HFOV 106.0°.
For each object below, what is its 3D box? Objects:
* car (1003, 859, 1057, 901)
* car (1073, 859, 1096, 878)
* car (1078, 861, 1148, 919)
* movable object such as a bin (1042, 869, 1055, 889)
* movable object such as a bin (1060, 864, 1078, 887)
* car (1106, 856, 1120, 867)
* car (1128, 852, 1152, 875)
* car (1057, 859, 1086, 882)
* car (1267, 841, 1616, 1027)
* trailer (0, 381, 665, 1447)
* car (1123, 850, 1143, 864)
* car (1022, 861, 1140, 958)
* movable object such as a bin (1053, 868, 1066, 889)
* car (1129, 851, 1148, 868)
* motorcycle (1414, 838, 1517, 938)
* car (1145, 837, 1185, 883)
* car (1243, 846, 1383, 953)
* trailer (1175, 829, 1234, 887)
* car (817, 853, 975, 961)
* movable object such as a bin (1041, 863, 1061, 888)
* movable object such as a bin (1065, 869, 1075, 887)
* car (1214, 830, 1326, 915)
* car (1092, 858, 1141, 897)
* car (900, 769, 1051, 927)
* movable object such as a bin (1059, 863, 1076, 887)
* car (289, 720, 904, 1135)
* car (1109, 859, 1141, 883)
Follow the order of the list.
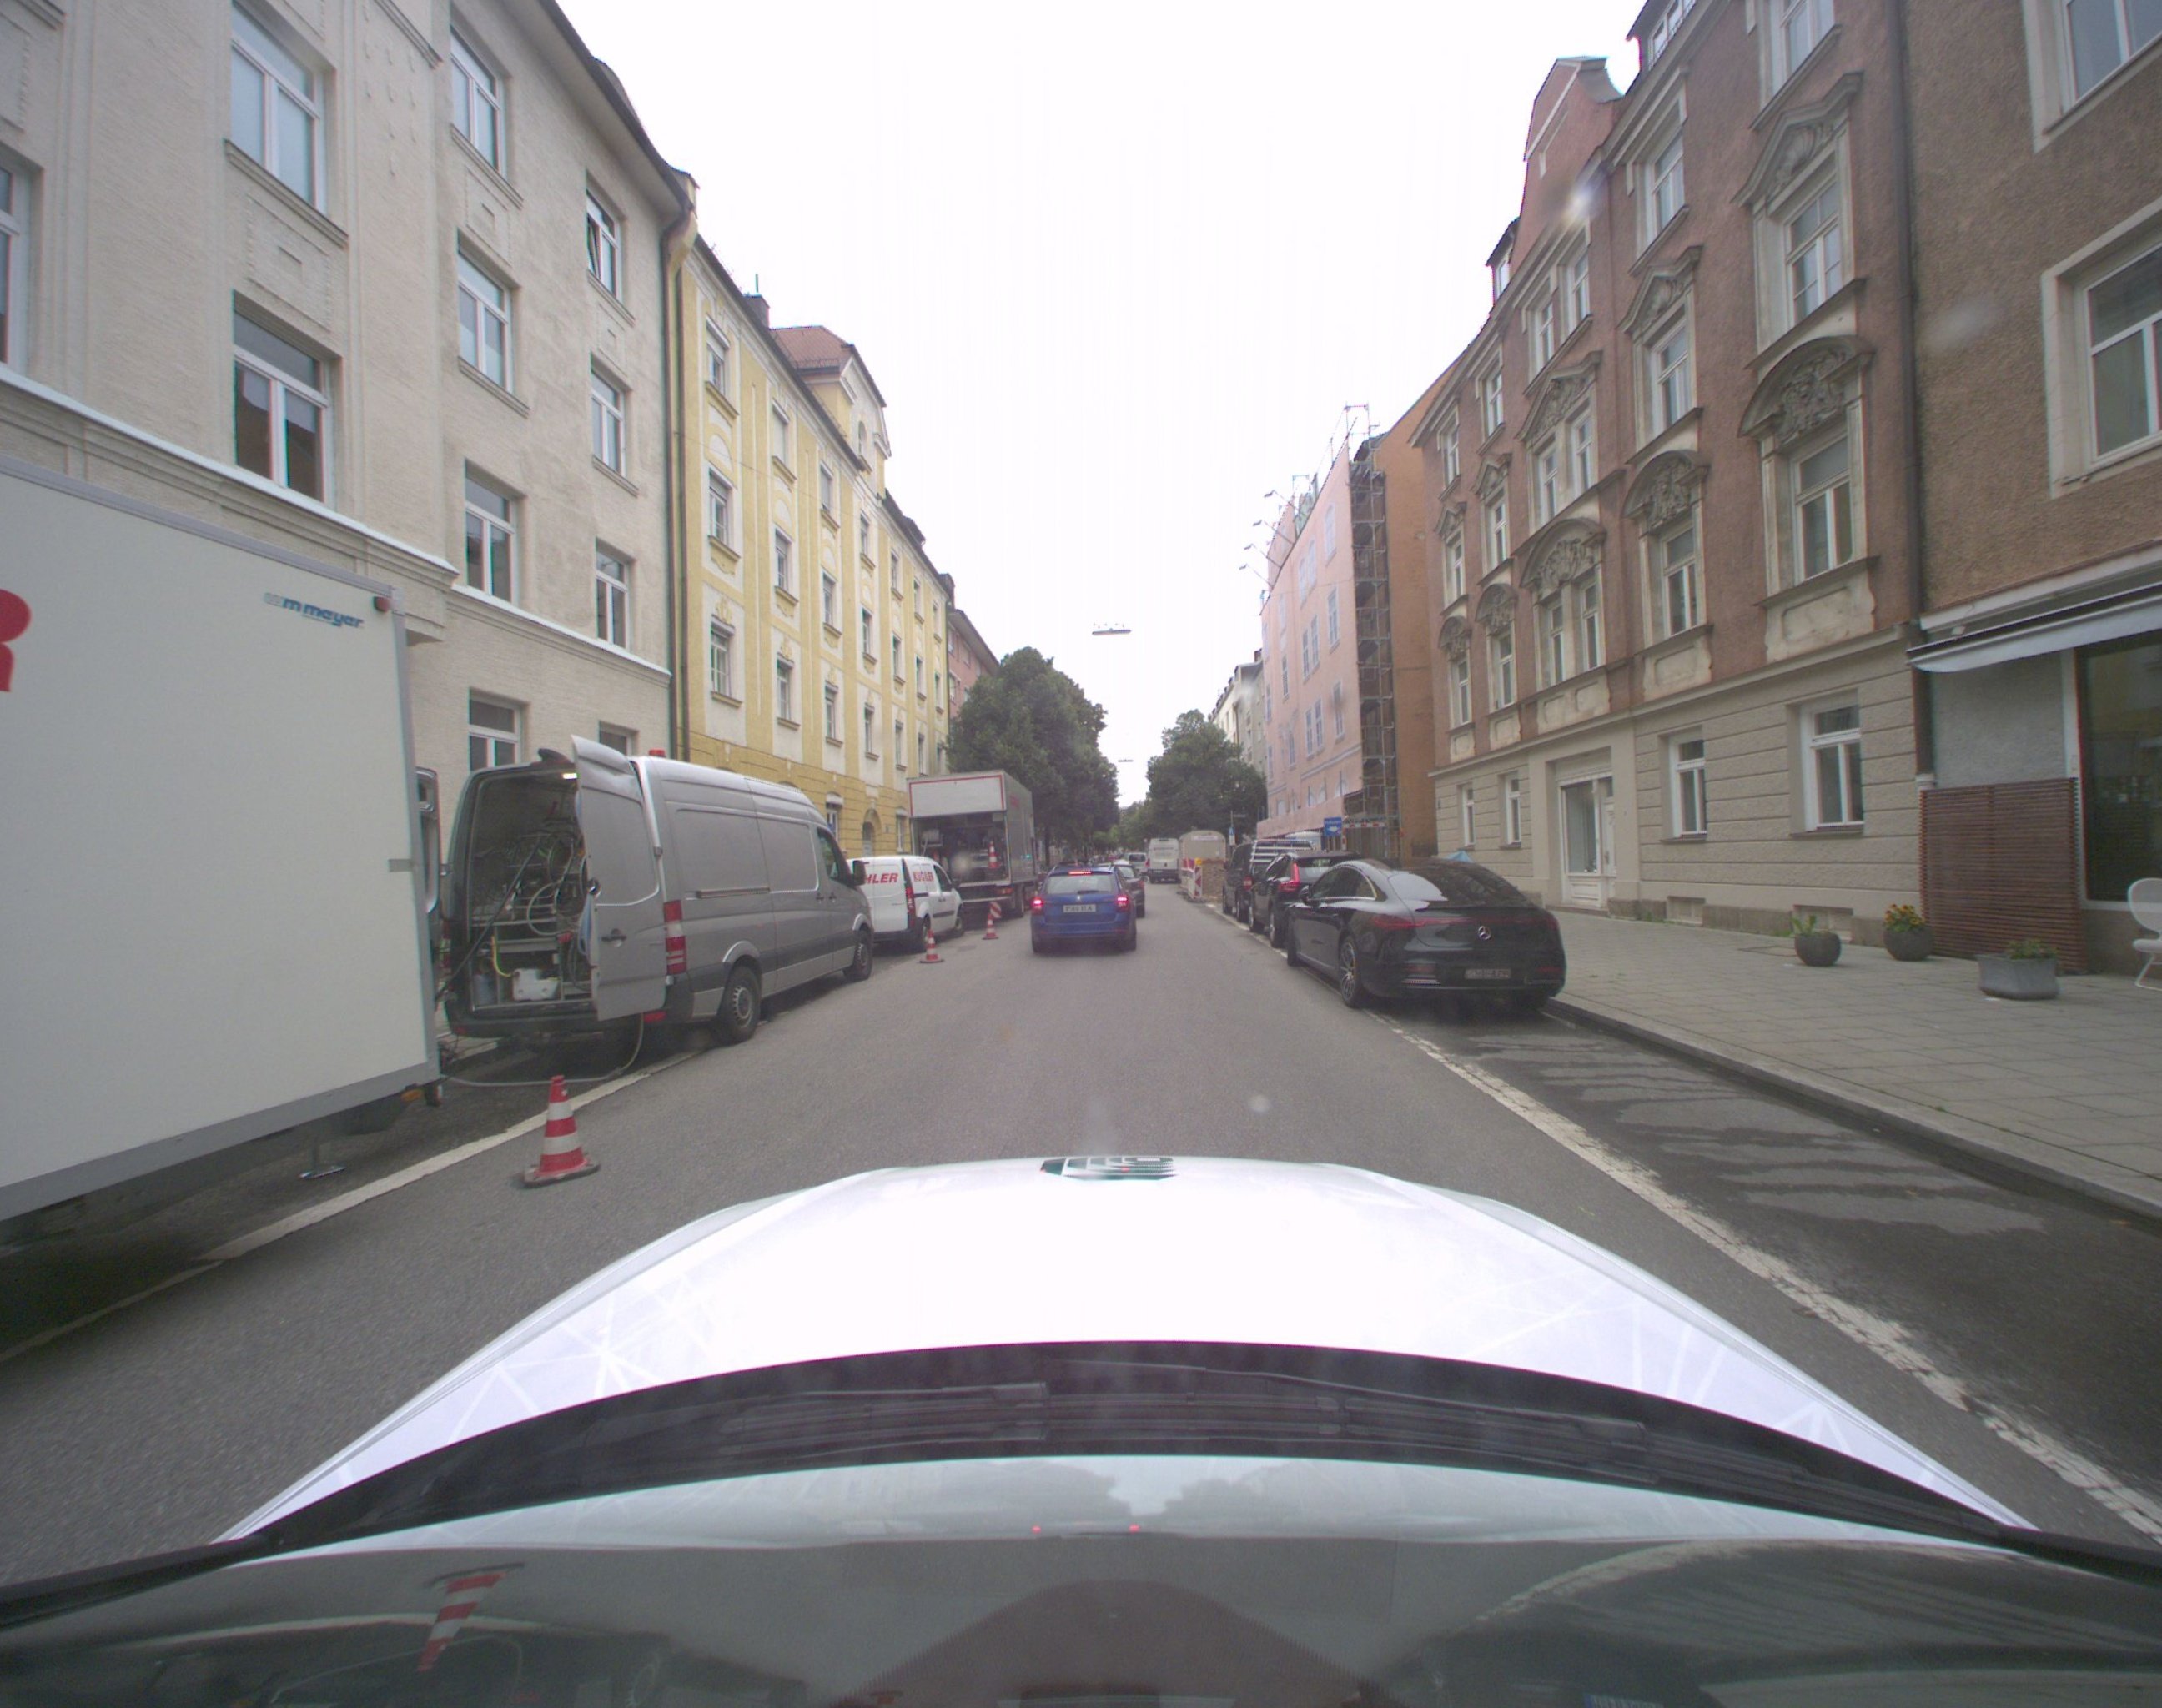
[{"bbox_3d":[-2.198,1.109,36.301,1.777,1.628,4.190,-3,0,4],"label":"car"},{"bbox_3d":[0.351,1.175,68.106,1.805,1.478,4.002,-1,0,2],"label":"car"},{"bbox_3d":[0.970,0.941,22.593,1.733,1.422,3.668,-2,-1,5],"label":"car"},{"bbox_3d":[-1.935,1.499,48.651,0.718,1.138,0.658,-4,0,0],"label":"movable object such as a bin"},{"bbox_3d":[-0.747,1.317,50.668,1.017,1.376,1.103,-4,0,-1],"label":"movable object such as a bin"},{"bbox_3d":[5.045,1.189,128.873,1.999,1.653,4.352,-1,0,4],"label":"car"},{"bbox_3d":[4.953,0.811,69.129,1.860,1.870,4.349,-1,0,2],"label":"car"},{"bbox_3d":[-0.650,1.153,57.401,1.805,1.478,4.002,-1,0,2],"label":"car"},{"bbox_3d":[3.726,0.702,9.802,1.923,1.553,5.640,-1,0,3],"label":"car"},{"bbox_3d":[-4.499,0.241,1.414,2.790,2.969,7.612,-5,0,6],"label":"trailer"},{"bbox_3d":[6.042,0.342,95.147,2.002,1.653,4.345,-1,0,-1],"label":"car"},{"bbox_3d":[0.144,0.885,14.853,1.781,1.460,4.319,-2,-1,4],"label":"car"},{"bbox_3d":[-1.269,1.454,48.675,0.709,1.148,0.636,-4,0,0],"label":"movable object such as a bin"},{"bbox_3d":[5.815,0.524,82.162,1.859,1.653,4.352,-1,0,4],"label":"car"},{"bbox_3d":[6.299,0.532,13.475,0.867,1.505,2.000,-2,-1,5],"label":"motorcycle"},{"bbox_3d":[5.252,0.373,50.484,2.100,2.664,5.514,-1,-1,9],"label":"car"},{"bbox_3d":[4.169,0.760,15.311,1.686,1.676,4.413,1,-1,5],"label":"car"},{"bbox_3d":[6.425,0.249,43.317,2.491,2.840,6.907,-1,-1,4],"label":"trailer"},{"bbox_3d":[-3.504,0.936,16.311,1.755,1.779,4.332,-4,-1,5],"label":"car"},{"bbox_3d":[-1.803,1.296,49.536,1.078,1.376,1.083,-4,0,-1],"label":"movable object such as a bin"},{"bbox_3d":[-0.650,1.454,48.706,0.545,1.020,0.636,-4,0,0],"label":"movable object such as a bin"},{"bbox_3d":[4.736,0.552,21.182,2.073,1.921,5.146,-1,-3,5],"label":"car"},{"bbox_3d":[1.466,0.919,33.244,1.860,1.454,4.350,-1,0,3],"label":"car"},{"bbox_3d":[-2.801,-0.106,24.652,2.801,3.817,8.730,-2,-1,3],"label":"car"},{"bbox_3d":[-0.807,1.296,49.571,0.915,1.376,1.079,-4,0,-1],"label":"movable object such as a bin"},{"bbox_3d":[-4.024,0.516,8.904,2.047,2.587,6.882,-6,-1,3],"label":"car"},{"bbox_3d":[2.780,1.030,50.260,1.859,1.348,4.352,-1,0,4],"label":"car"}]
